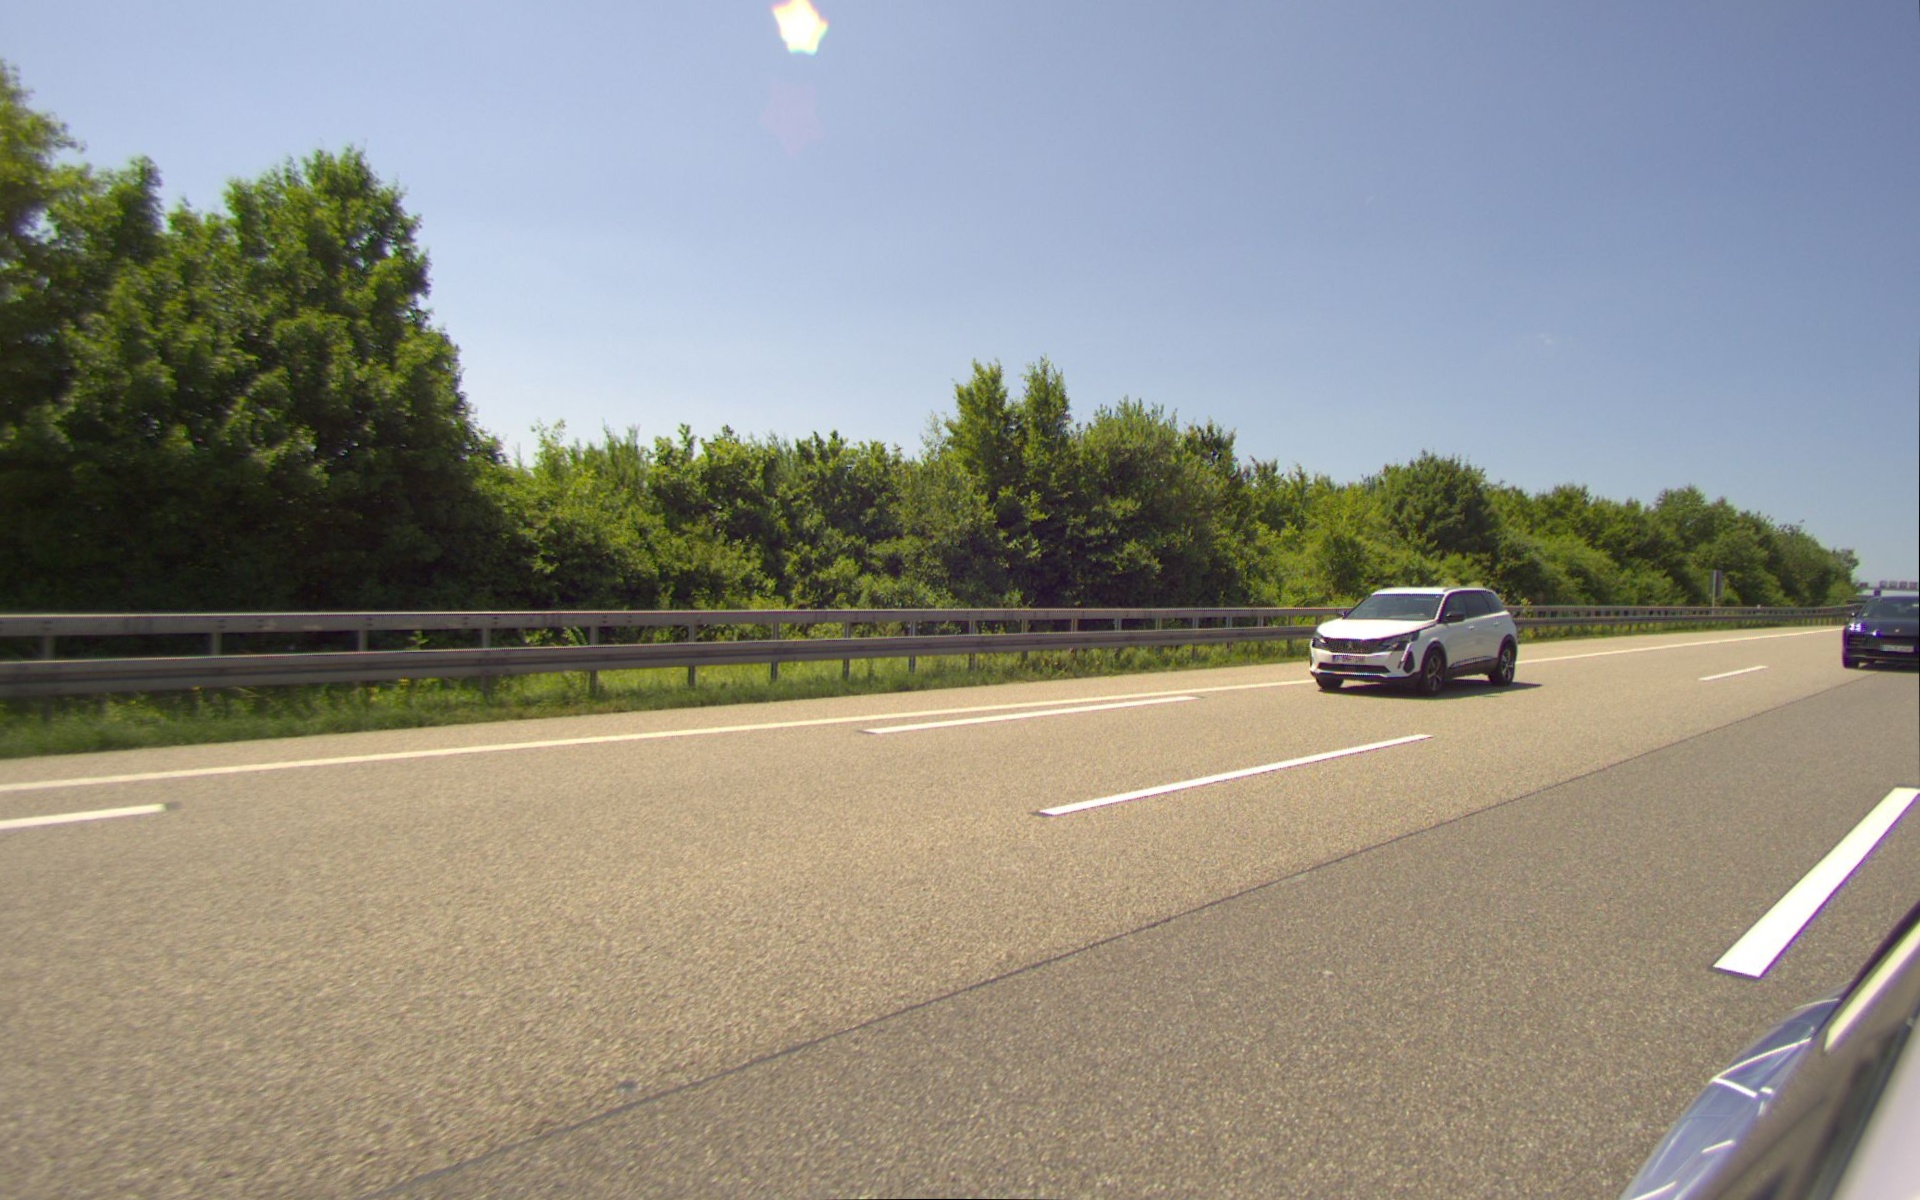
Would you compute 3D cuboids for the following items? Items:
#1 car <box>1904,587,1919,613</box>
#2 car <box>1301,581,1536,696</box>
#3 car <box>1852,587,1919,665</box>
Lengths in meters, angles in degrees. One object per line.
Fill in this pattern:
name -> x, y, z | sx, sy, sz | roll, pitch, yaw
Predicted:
car -> 73.044, -0.023, 76.797 | 4.224, 1.943, 1.805 | -1, 1, -44
car -> 7.502, 0.514, 16.347 | 4.539, 1.611, 1.746 | 0, 1, -41
car -> 21.346, 0.524, 22.393 | 4.060, 1.615, 1.930 | 0, 1, -41
